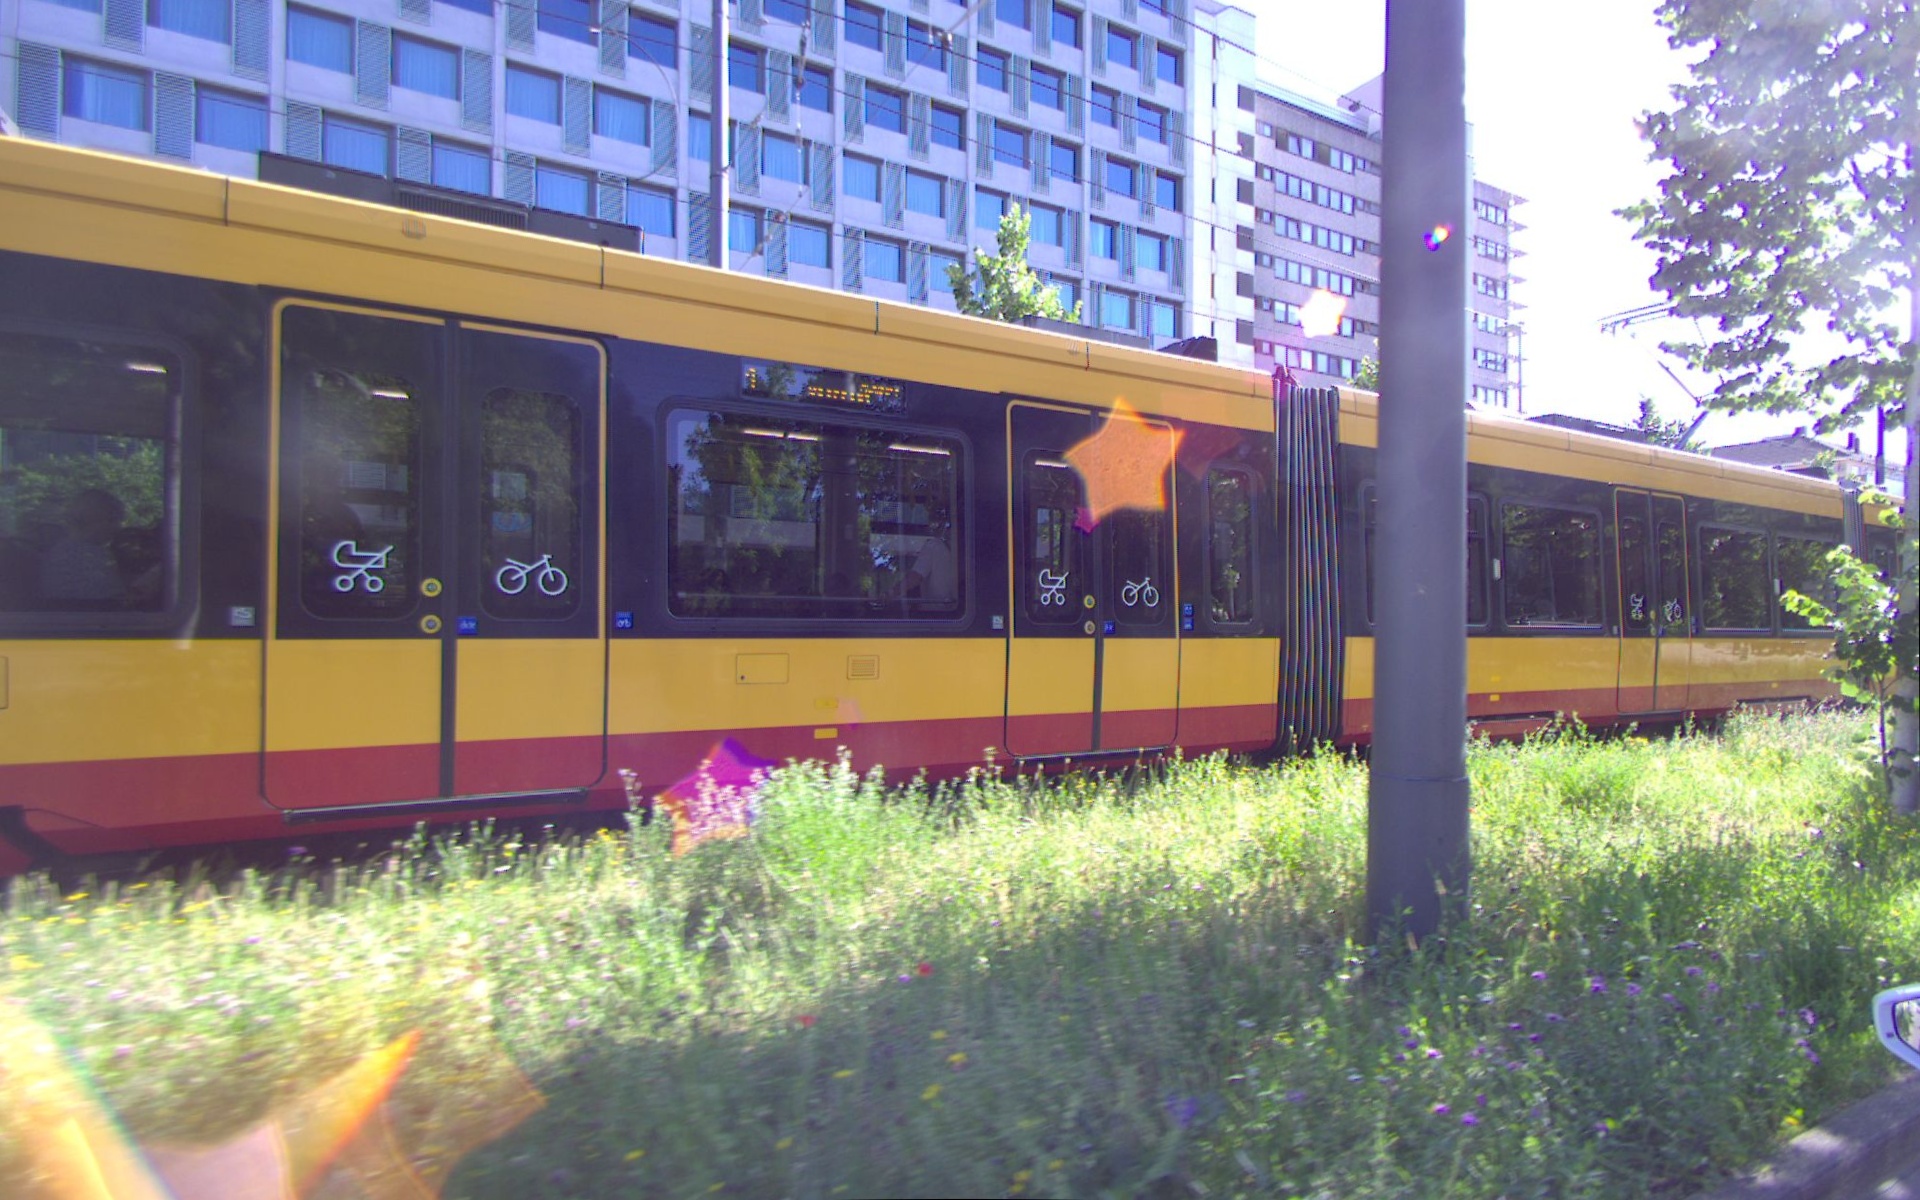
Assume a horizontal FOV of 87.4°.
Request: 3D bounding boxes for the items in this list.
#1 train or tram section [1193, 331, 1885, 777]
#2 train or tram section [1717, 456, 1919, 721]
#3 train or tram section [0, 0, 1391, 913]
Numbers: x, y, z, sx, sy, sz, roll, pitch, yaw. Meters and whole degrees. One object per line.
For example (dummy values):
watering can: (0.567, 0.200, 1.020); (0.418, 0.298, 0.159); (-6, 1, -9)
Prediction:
train or tram section: (7.667, -0.252, 12.098); (11.185, 3.718, 1.984); (2, 0, -31)
train or tram section: (17.434, -0.028, 17.877); (11.545, 3.718, 1.984); (2, 0, -30)
train or tram section: (-2.902, -0.590, 5.636); (13.990, 3.718, 1.983); (2, 0, -31)
